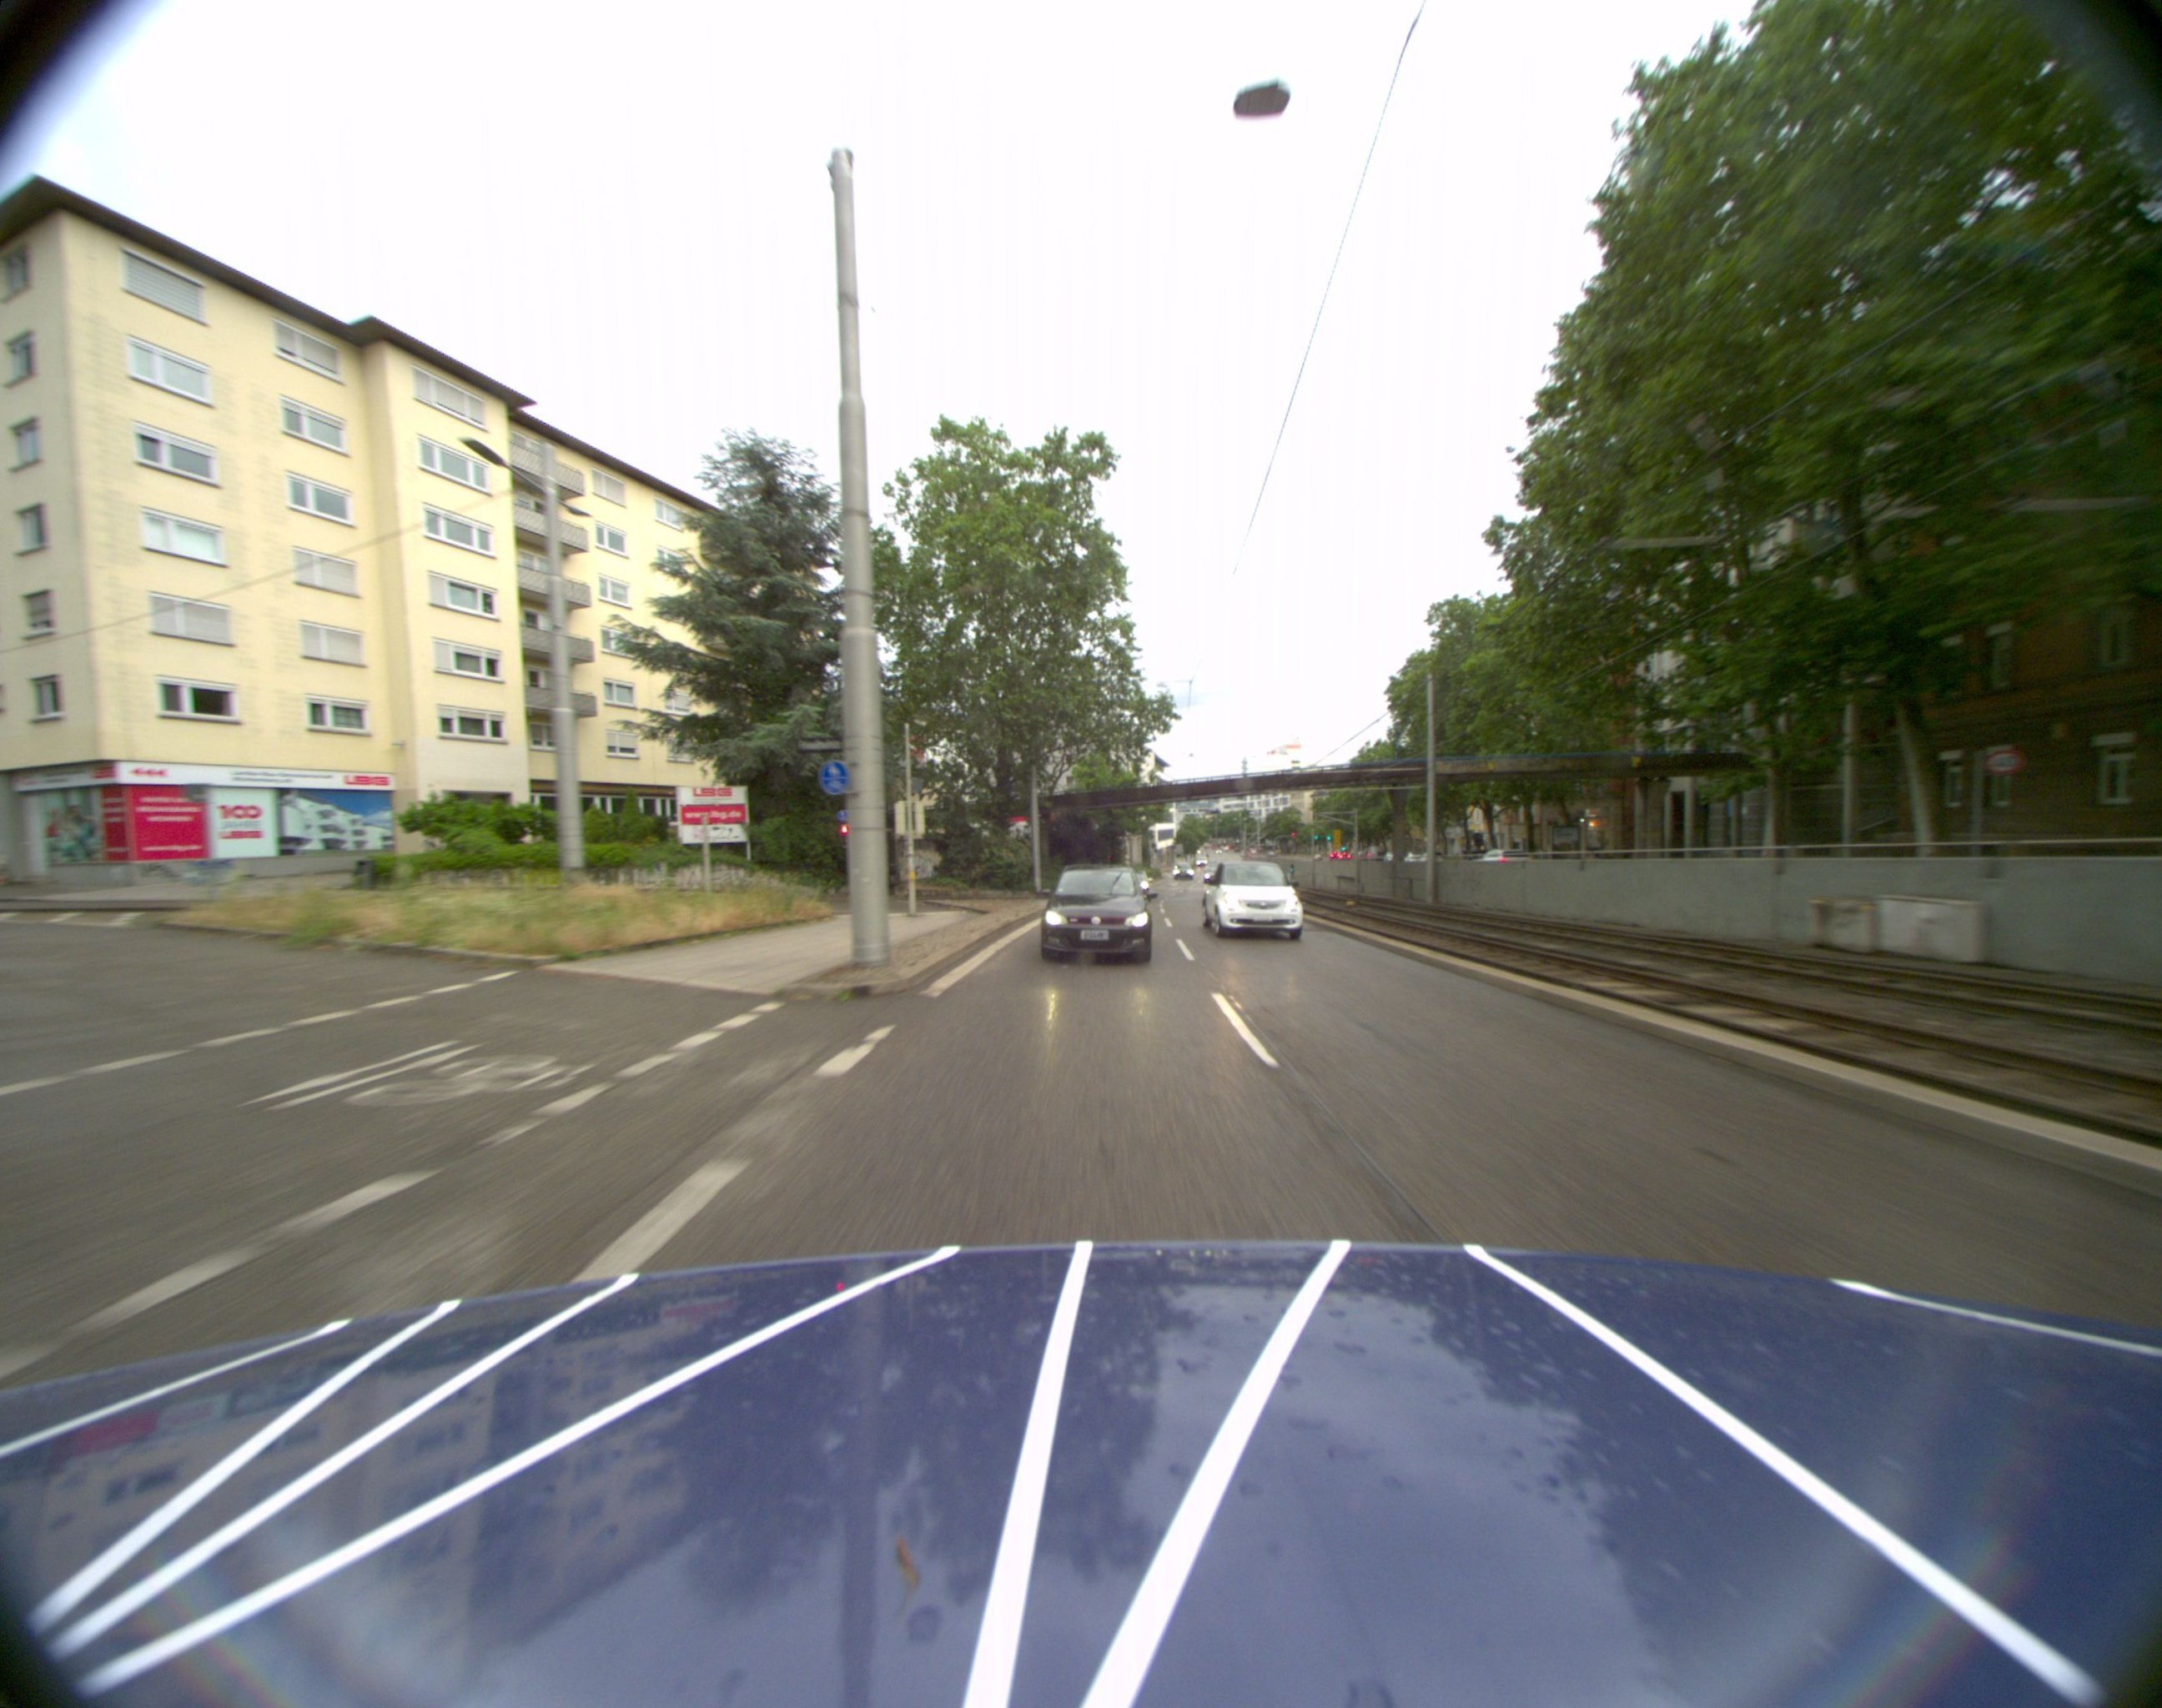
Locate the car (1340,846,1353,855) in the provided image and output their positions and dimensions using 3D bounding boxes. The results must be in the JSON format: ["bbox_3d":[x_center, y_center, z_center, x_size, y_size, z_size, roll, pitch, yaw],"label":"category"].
[{"bbox_3d":[50.526,-0.656,144.614,1.797,1.501,4.111,-3,0,11],"label":"car"}]

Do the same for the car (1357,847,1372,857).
[{"bbox_3d":[50.370,-0.388,134.930,1.880,1.754,4.906,-3,0,14],"label":"car"}]

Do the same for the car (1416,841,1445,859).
[{"bbox_3d":[34.721,-0.388,75.594,1.797,1.602,4.116,-3,0,13],"label":"car"}]

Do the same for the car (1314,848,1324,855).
[{"bbox_3d":[53.780,-0.633,171.664,1.797,1.501,4.004,-3,0,12],"label":"car"}]

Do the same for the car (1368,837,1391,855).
[{"bbox_3d":[48.664,-1.267,123.975,2.456,2.647,6.938,-3,0,14],"label":"car"}]

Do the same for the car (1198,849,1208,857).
[{"bbox_3d":[25.174,-0.186,156.285,1.797,1.501,4.003,-3,1,12],"label":"car"}]

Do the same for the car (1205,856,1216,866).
[{"bbox_3d":[22.259,1.129,130.538,1.797,1.602,4.362,-3,0,9],"label":"car"}]

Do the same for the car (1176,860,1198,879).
[{"bbox_3d":[10.526,1.516,75.289,1.797,1.656,4.003,-3,1,12],"label":"car"}]

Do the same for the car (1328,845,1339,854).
[{"bbox_3d":[57.279,-0.977,172.344,1.959,1.841,4.973,-3,0,15],"label":"car"}]

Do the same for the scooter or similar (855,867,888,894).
[{"bbox_3d":[-9.642,1.215,34.993,0.601,1.211,1.921,1,0,14],"label":"scooter or similar"}]

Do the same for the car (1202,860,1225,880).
[{"bbox_3d":[11.835,1.377,67.833,1.797,1.501,4.003,-3,1,12],"label":"car"}]

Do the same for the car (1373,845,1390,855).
[{"bbox_3d":[45.924,-0.612,116.148,1.797,1.501,4.676,-3,0,14],"label":"car"}]

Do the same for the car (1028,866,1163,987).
[{"bbox_3d":[0.352,0.927,11.358,1.677,1.391,3.850,0,1,5],"label":"car"}]

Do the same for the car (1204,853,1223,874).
[{"bbox_3d":[14.593,1.031,83.478,1.797,2.021,4.003,-3,1,12],"label":"car"}]

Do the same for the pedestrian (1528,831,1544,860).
[{"bbox_3d":[32.152,-0.622,53.686,0.670,2.002,0.935,-3,1,16],"label":"pedestrian"}]

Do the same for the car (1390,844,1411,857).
[{"bbox_3d":[40.690,-0.473,96.840,1.797,1.501,4.212,-3,0,15],"label":"car"}]

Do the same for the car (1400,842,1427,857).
[{"bbox_3d":[37.838,-0.465,86.606,1.930,1.591,5.204,-3,0,14],"label":"car"}]

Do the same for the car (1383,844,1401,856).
[{"bbox_3d":[43.773,-0.610,107.061,1.797,1.562,4.212,-3,0,15],"label":"car"}]

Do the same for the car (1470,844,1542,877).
[{"bbox_3d":[22.430,0.341,40.295,1.798,1.602,4.361,-3,0,8],"label":"car"}]

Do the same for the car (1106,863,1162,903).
[{"bbox_3d":[2.415,1.244,33.773,1.749,1.433,3.710,4,3,14],"label":"car"}]

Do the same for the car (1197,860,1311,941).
[{"bbox_3d":[3.618,0.911,16.546,1.798,1.528,4.001,1,0,4],"label":"car"}]
